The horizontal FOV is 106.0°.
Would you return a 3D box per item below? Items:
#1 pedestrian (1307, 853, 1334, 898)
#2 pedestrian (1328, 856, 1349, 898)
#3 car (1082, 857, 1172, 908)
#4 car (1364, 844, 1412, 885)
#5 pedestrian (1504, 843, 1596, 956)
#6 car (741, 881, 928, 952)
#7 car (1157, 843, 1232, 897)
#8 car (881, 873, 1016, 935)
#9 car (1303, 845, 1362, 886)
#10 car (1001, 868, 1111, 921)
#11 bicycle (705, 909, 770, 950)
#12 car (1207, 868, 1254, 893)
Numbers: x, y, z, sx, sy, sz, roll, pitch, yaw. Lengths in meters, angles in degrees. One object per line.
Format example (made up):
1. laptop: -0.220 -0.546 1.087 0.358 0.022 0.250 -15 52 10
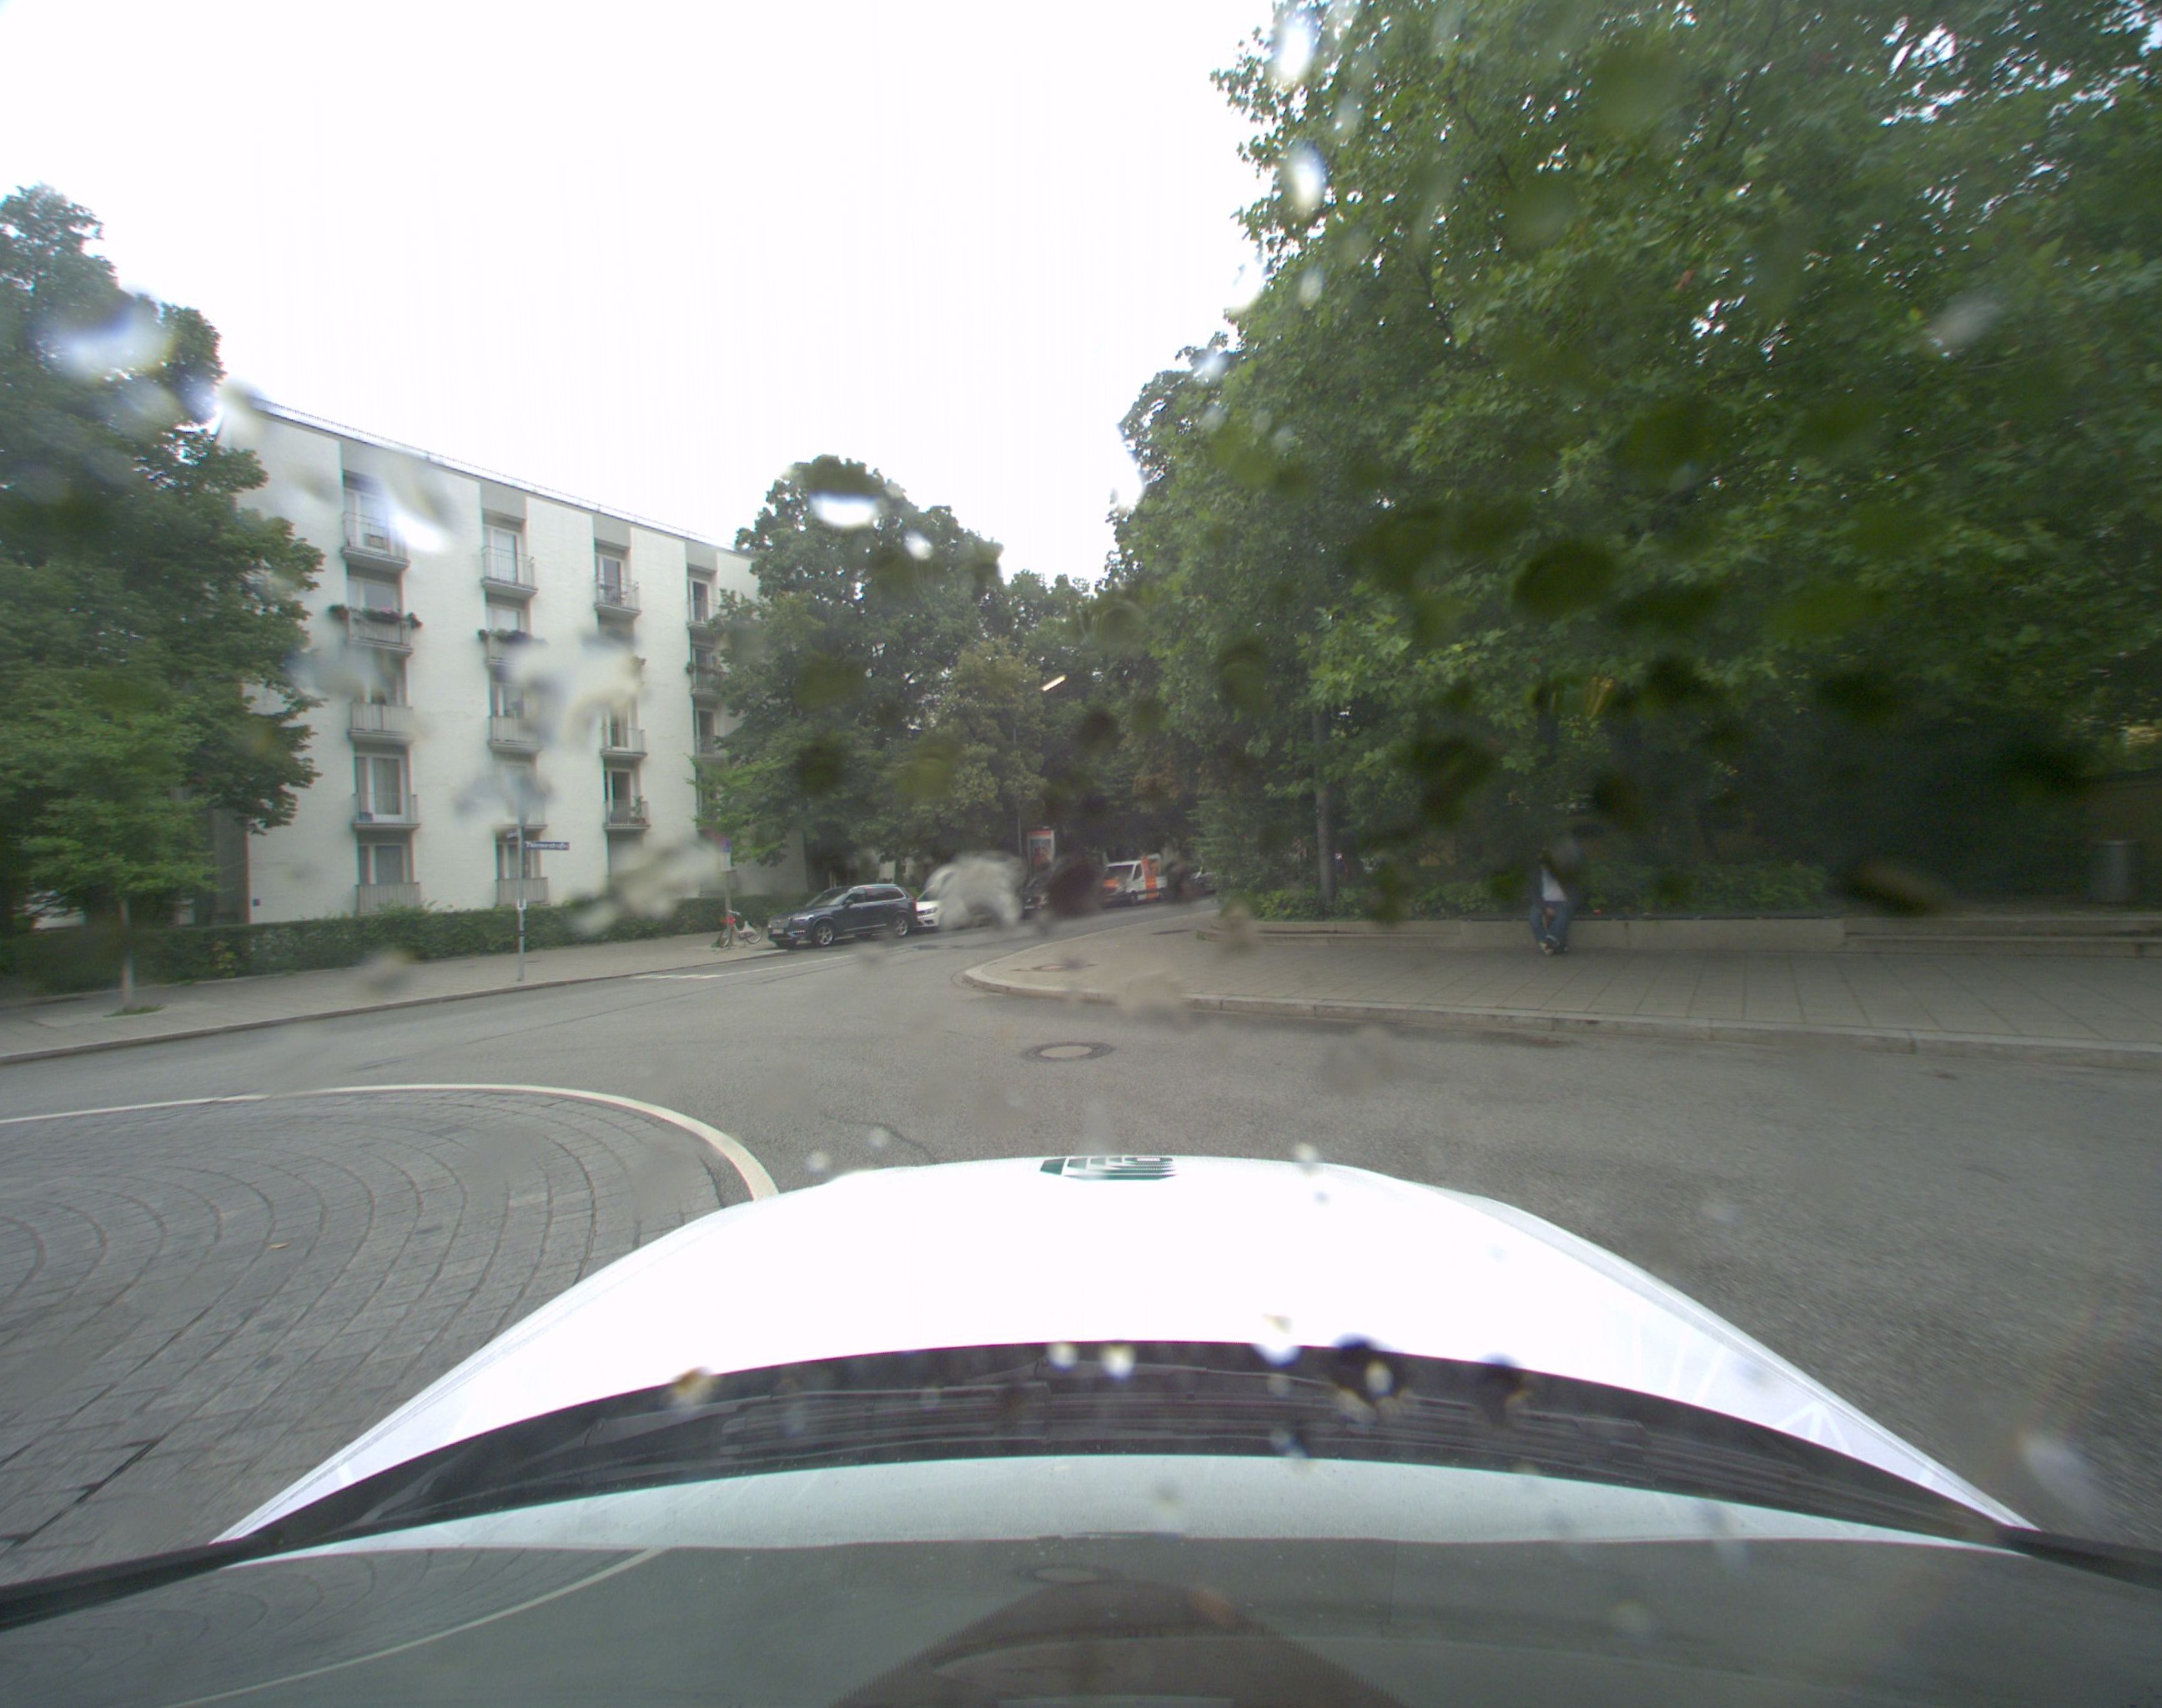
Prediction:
1. pedestrian: 10.010 0.896 34.069 0.816 1.836 0.953 -4 -2 3
2. pedestrian: 10.535 0.928 33.310 0.629 1.667 0.699 -4 -2 8
3. car: 2.448 1.400 41.794 2.063 2.265 5.638 -6 -3 31
4. car: 21.249 0.691 56.218 1.974 2.558 5.464 -4 -2 30
5. pedestrian: 6.086 0.569 10.550 0.761 1.357 1.139 -5 -2 39
6. car: -7.372 1.844 24.946 2.063 1.719 5.339 -5 -2 33
7. car: 7.016 0.930 49.567 2.152 3.003 6.272 -4 -2 30
8. car: -4.709 1.754 29.682 2.063 1.904 4.889 -4 -2 31
9. car: 13.245 0.574 42.659 1.893 1.937 4.999 -4 -2 28
10. car: -0.966 1.687 35.571 2.006 1.908 5.702 -6 -3 29
11. bicycle: -10.448 2.290 24.854 0.745 1.085 1.793 -4 -2 20
12. car: 10.050 1.741 54.546 1.975 1.420 4.024 -4 -2 27
